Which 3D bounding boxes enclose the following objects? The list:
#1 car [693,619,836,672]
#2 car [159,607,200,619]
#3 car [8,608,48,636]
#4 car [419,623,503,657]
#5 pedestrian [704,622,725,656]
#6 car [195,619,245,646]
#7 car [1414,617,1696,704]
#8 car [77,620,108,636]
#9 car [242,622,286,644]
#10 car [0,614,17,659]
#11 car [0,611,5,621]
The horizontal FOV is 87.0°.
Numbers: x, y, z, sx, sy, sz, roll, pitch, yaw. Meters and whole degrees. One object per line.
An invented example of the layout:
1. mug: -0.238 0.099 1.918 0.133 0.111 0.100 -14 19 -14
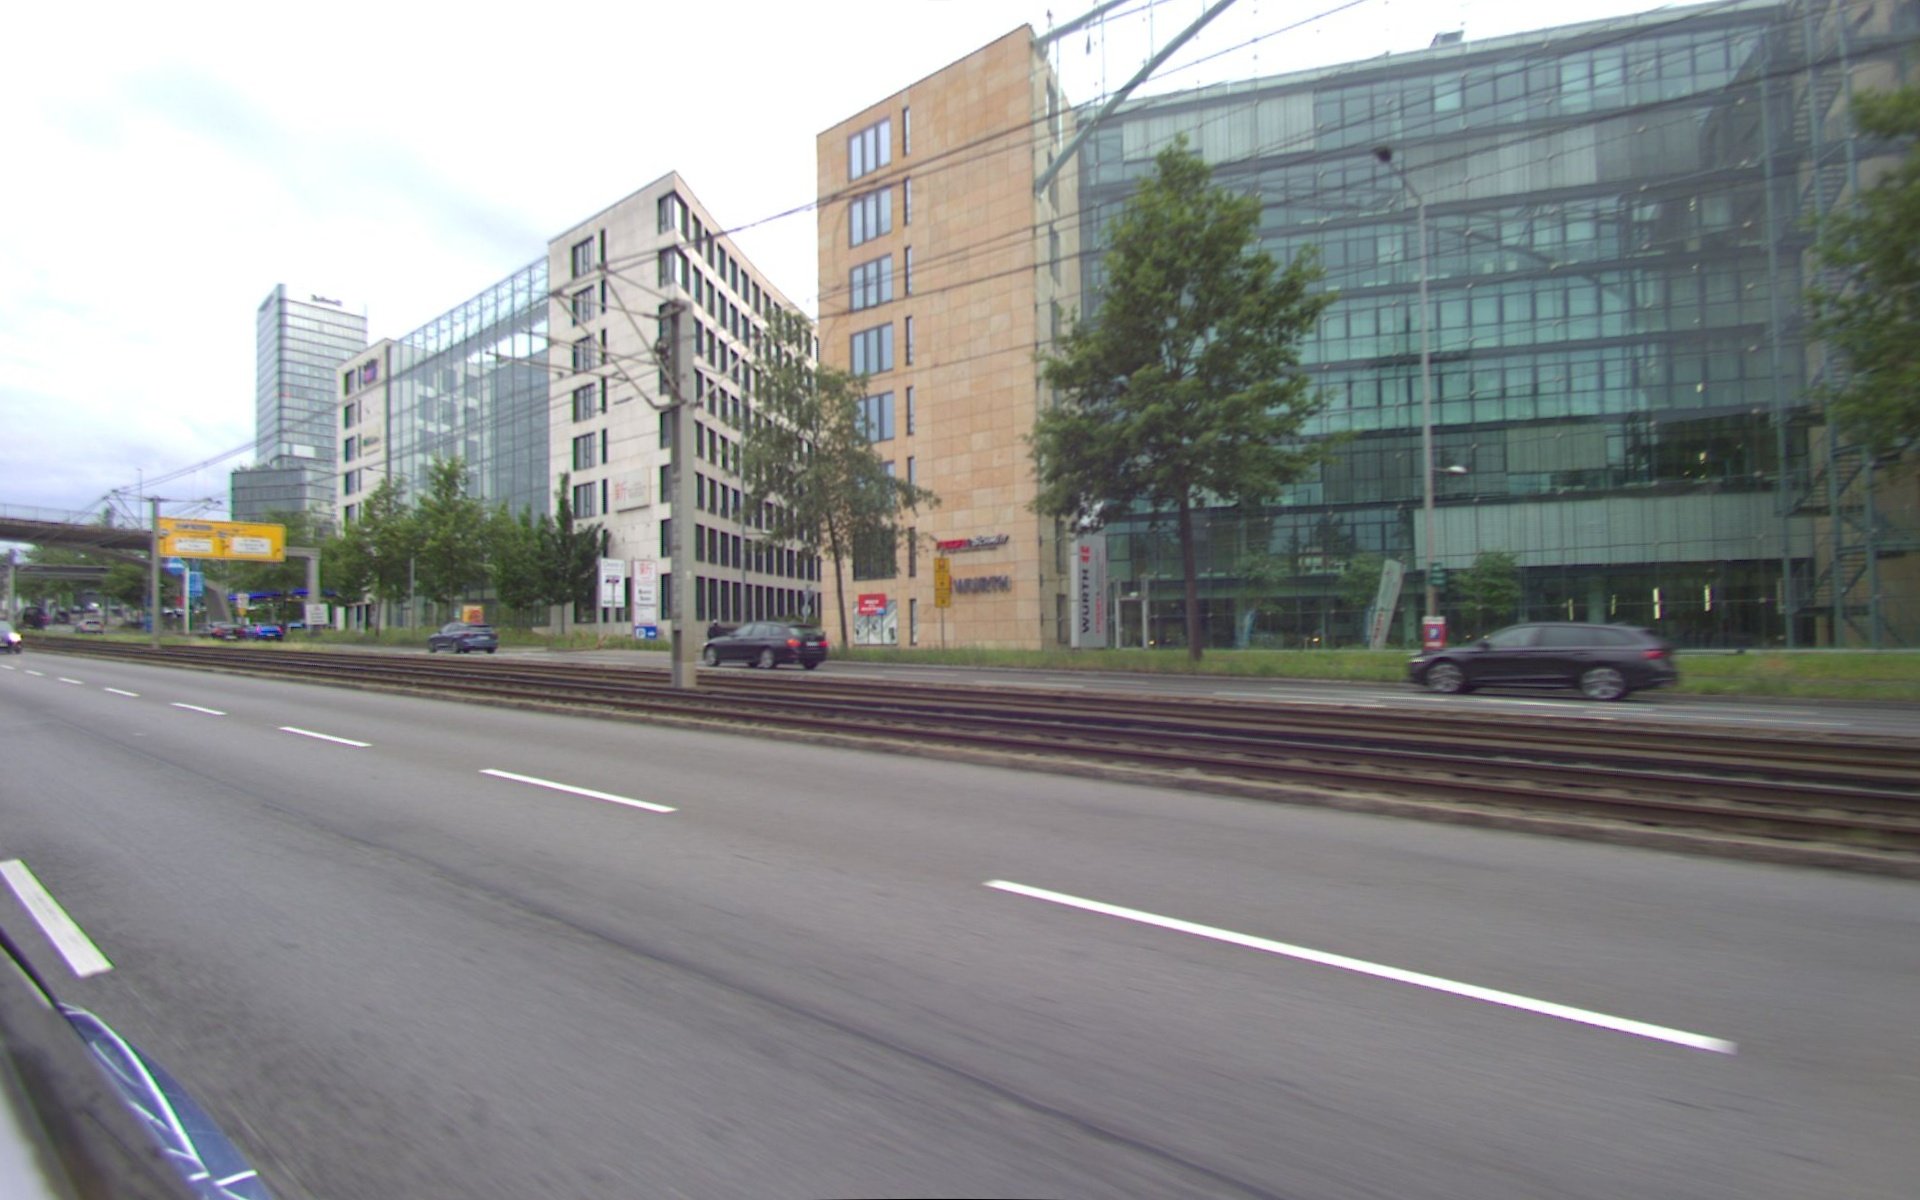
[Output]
1. car: -6.031 1.404 30.949 4.651 1.497 1.821 -2 -4 41
2. car: -109.065 1.834 141.464 1.885 1.515 4.306 1 2 43
3. car: -98.969 2.349 107.467 5.606 2.838 2.360 -1 0 40
4. car: -23.382 1.864 47.366 4.651 1.497 1.821 -2 -4 41
5. pedestrian: -12.218 1.925 50.375 0.831 1.643 0.635 1 1 38
6. car: -45.997 1.991 62.895 4.200 1.513 1.753 1 2 43
7. car: 11.368 1.137 19.530 4.428 1.497 1.821 -2 -4 41
8. car: -89.458 2.856 104.316 4.815 1.545 1.741 -1 0 41
9. car: -52.734 2.461 76.627 4.023 1.465 1.822 1 1 41
10. car: -44.270 1.655 45.937 4.376 1.882 1.771 1 1 42
11. car: -150.971 2.577 158.387 4.271 1.545 1.791 -1 0 40
